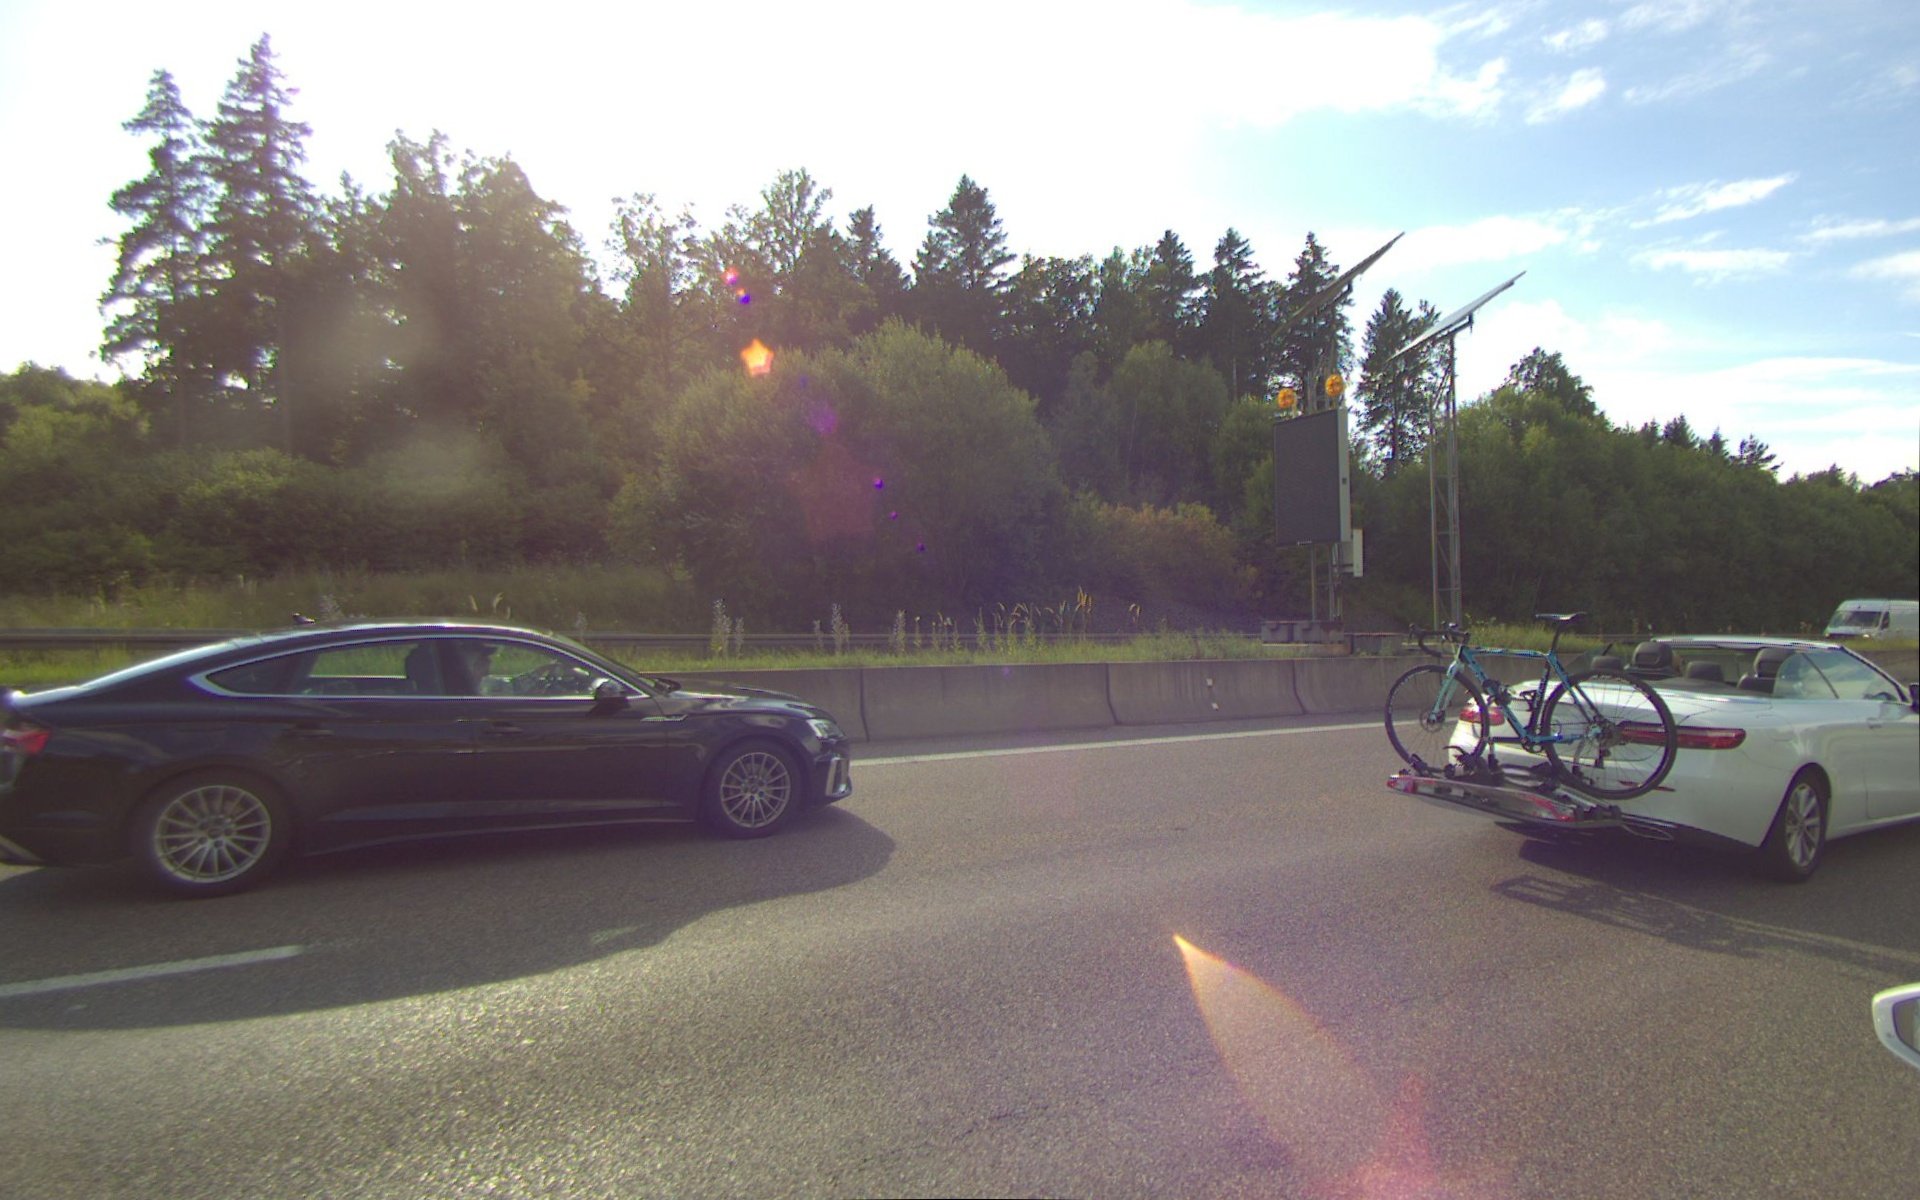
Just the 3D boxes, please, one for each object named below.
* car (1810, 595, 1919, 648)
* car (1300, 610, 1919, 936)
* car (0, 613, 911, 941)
[{"bbox_3d":[42.355,1.012,46.859,6.646,2.343,2.099,1,0,-31],"label":"car"},{"bbox_3d":[5.162,0.872,7.058,5.668,1.519,2.050,1,-1,-30],"label":"car"},{"bbox_3d":[-2.855,0.843,6.421,4.784,1.450,1.847,1,-1,-30],"label":"car"}]
